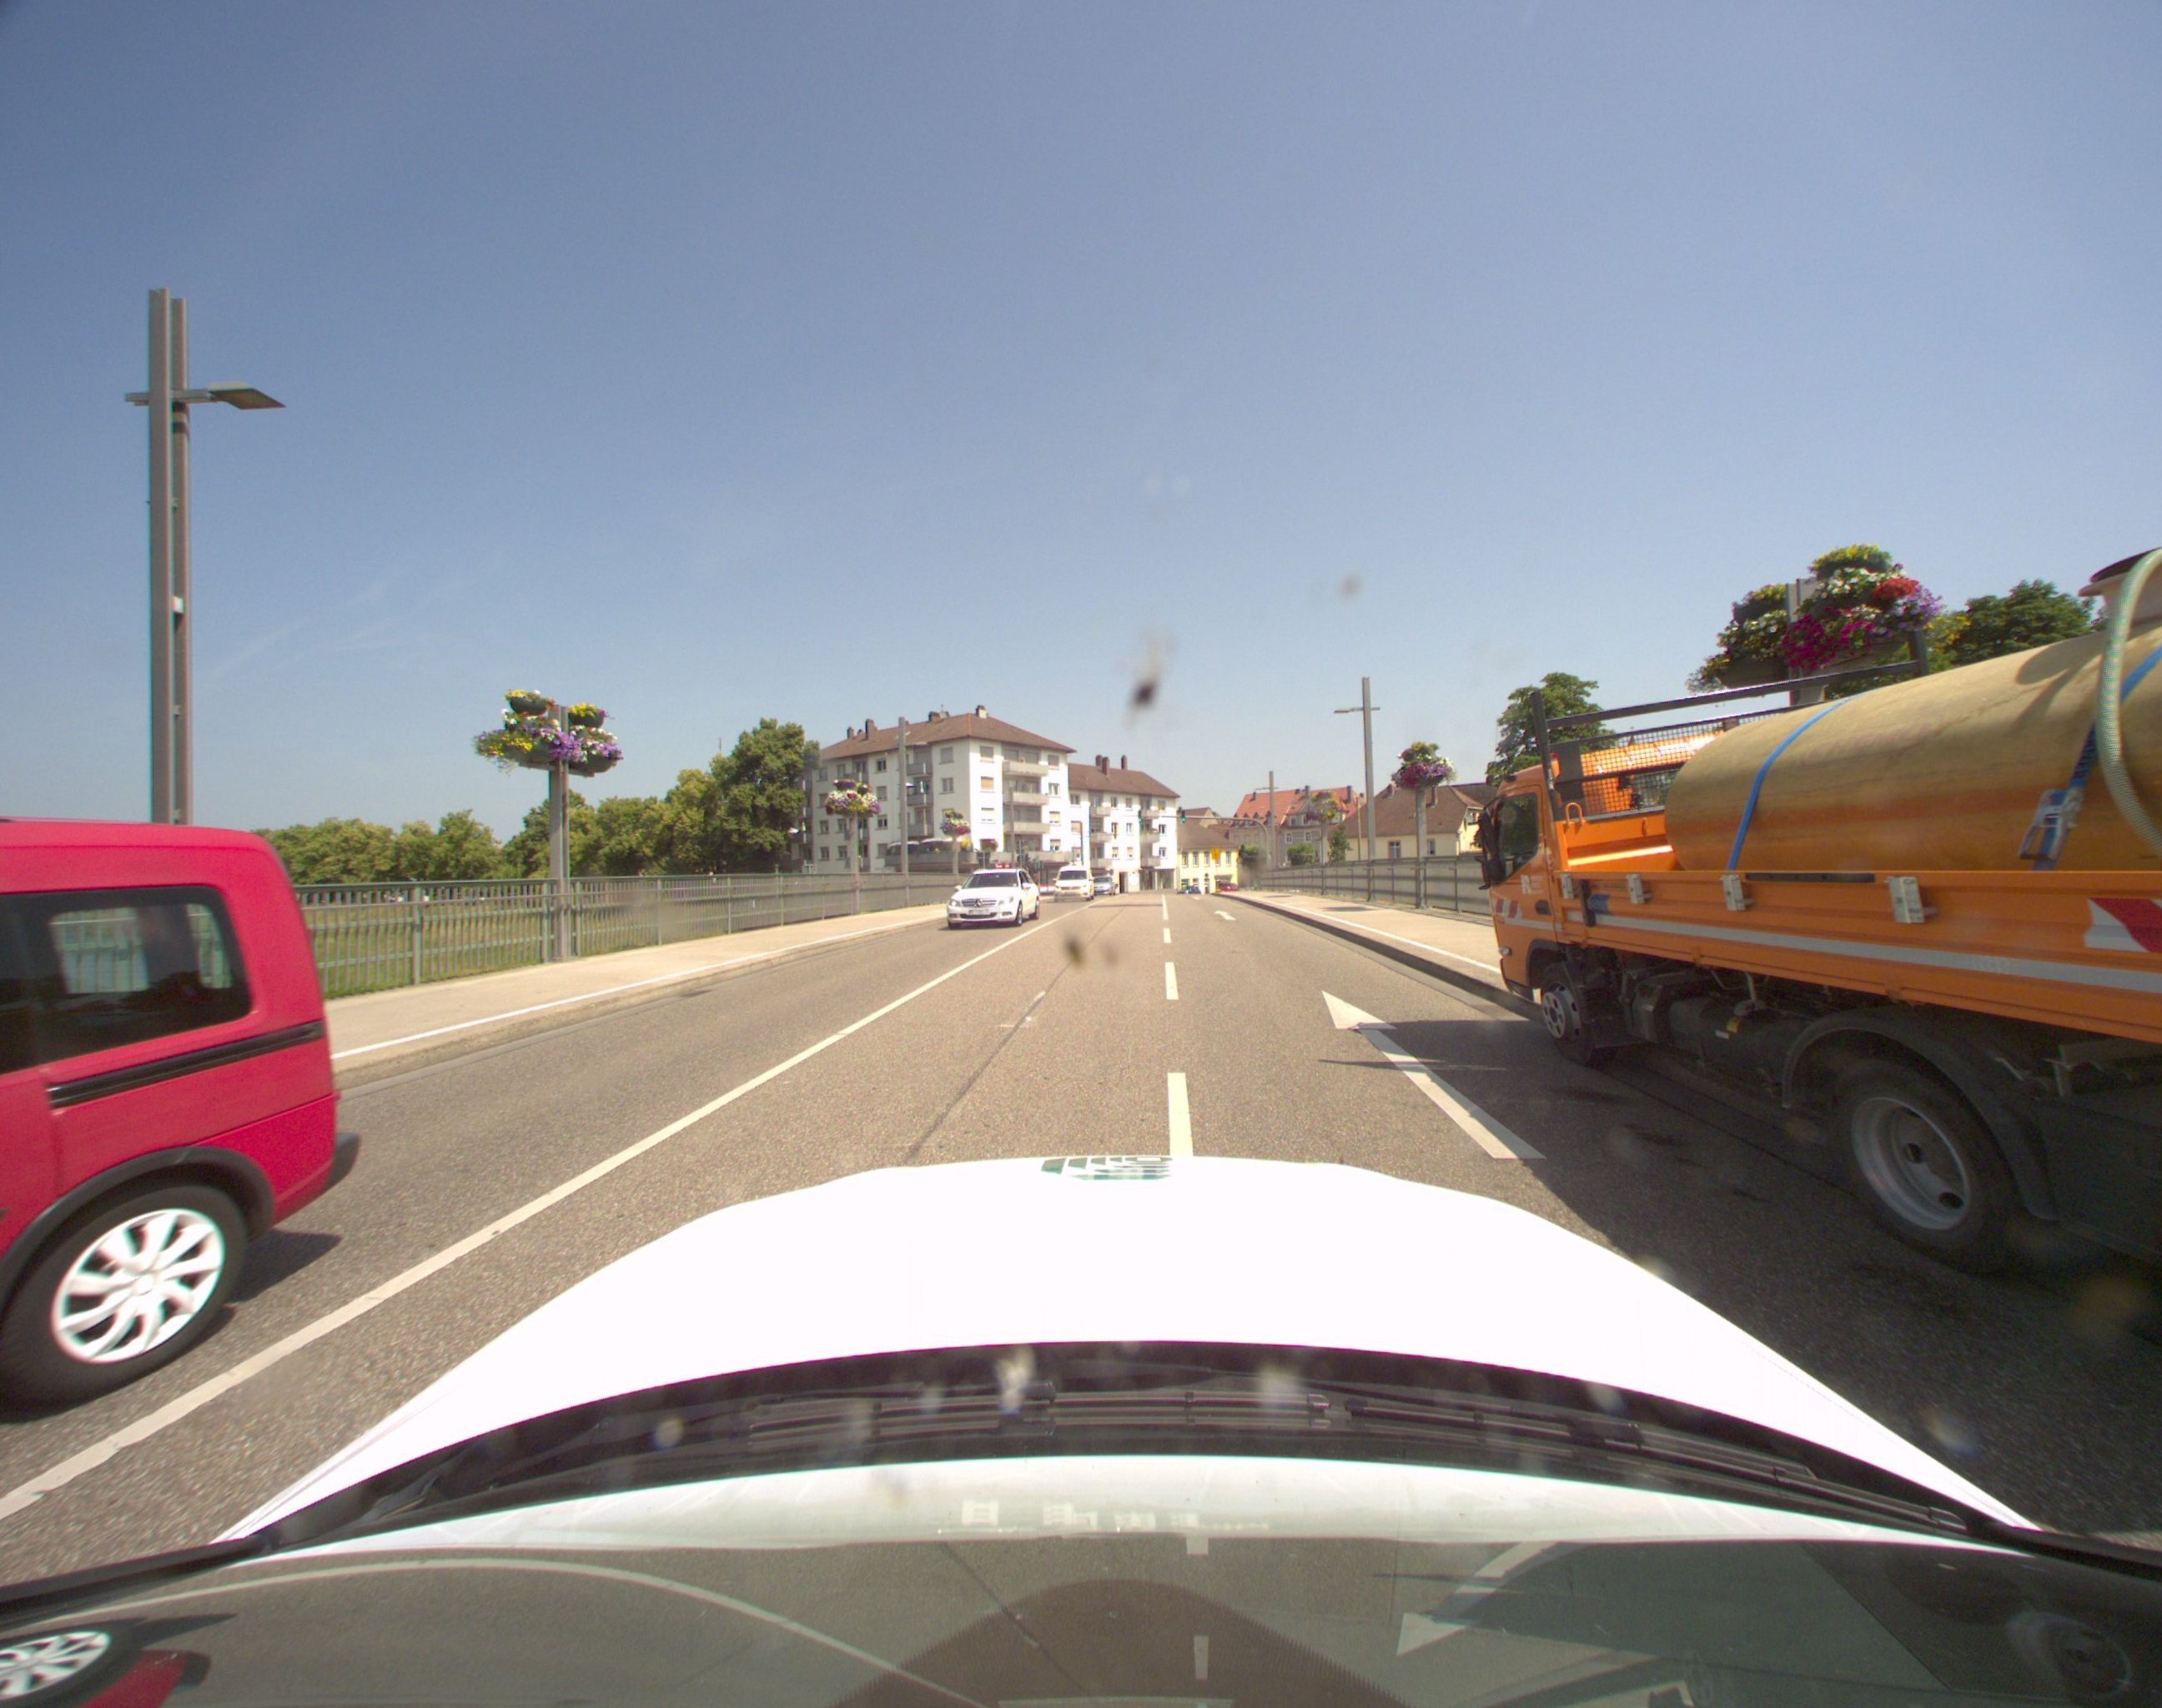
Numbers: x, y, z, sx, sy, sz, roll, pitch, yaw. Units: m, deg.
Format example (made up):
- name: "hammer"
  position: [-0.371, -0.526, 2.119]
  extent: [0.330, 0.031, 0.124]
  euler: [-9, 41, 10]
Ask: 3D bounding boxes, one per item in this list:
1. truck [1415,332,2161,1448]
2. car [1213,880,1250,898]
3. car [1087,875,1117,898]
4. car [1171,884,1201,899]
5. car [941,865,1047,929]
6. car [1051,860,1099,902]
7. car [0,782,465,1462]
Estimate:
- name: "truck"
  position: [4.105, 0.018, 4.196]
  extent: [2.593, 2.690, 5.833]
  euler: [-7, -1, 6]
- name: "car"
  position: [15.285, 3.529, 82.758]
  extent: [1.970, 1.613, 4.370]
  euler: [-3, -1, 36]
- name: "car"
  position: [1.568, 2.313, 58.833]
  extent: [1.751, 1.519, 4.007]
  euler: [-3, -1, 7]
- name: "car"
  position: [11.740, 4.144, 90.509]
  extent: [1.640, 1.440, 3.779]
  euler: [-6, -3, 35]
- name: "car"
  position: [-2.145, 1.056, 21.430]
  extent: [1.835, 1.432, 4.720]
  euler: [-2, -1, 5]
- name: "car"
  position: [-0.236, 1.366, 40.914]
  extent: [1.750, 1.857, 4.654]
  euler: [-4, -2, 7]
- name: "car"
  position: [-3.806, 0.752, 1.526]
  extent: [1.727, 1.777, 4.184]
  euler: [-5, -1, 6]
